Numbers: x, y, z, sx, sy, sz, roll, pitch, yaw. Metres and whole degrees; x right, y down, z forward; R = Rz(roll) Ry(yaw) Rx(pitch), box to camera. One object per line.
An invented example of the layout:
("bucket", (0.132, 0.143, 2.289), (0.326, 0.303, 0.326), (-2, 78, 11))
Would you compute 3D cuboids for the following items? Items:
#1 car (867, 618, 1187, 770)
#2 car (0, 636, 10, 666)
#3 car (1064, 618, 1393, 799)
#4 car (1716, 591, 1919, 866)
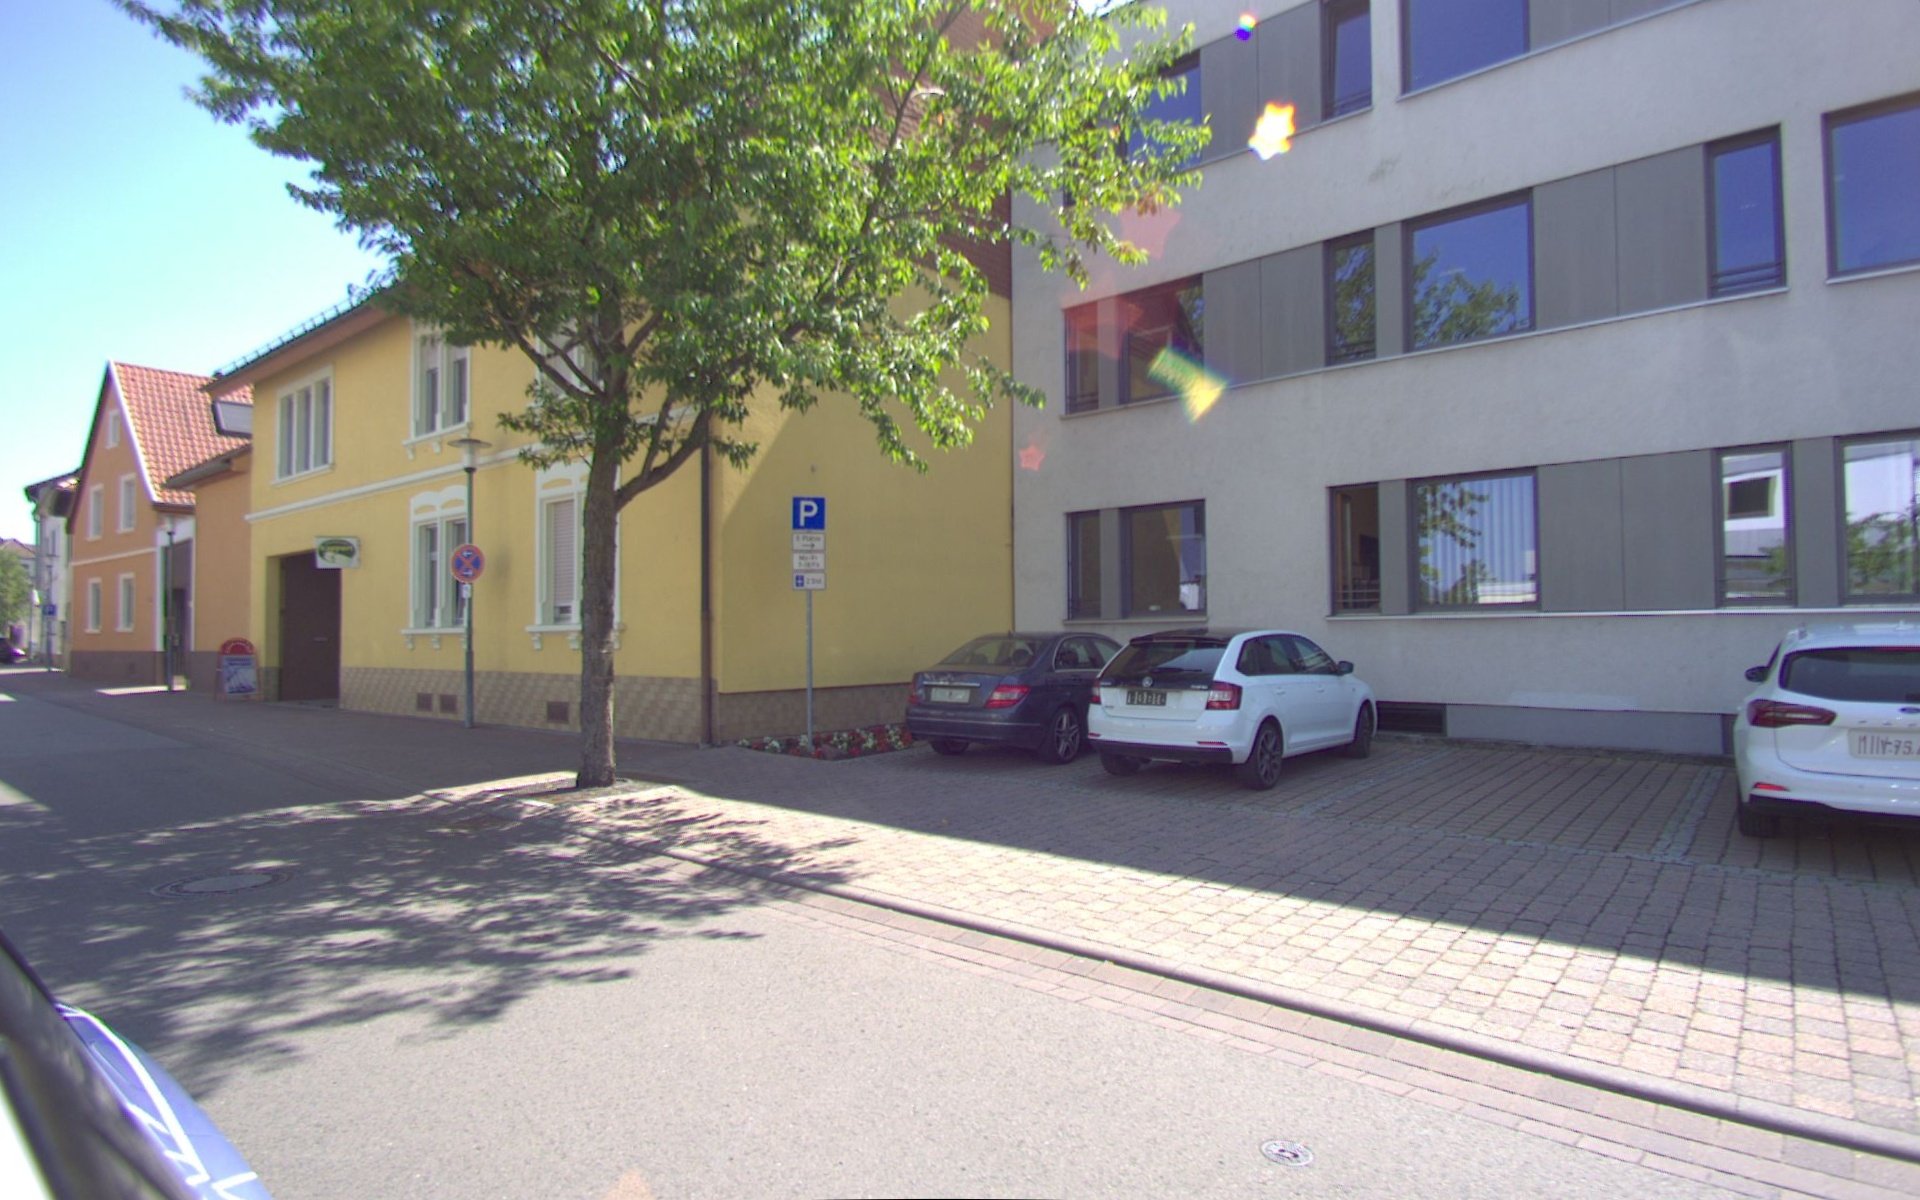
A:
("car", (0.956, 0.989, 12.087), (1.969, 1.442, 3.950), (-3, -2, 37))
("car", (-53.878, 2.834, 55.988), (1.837, 1.642, 4.051), (2, -3, -43))
("car", (2.931, 0.958, 10.468), (1.805, 1.462, 3.947), (-3, -2, 39))
("car", (6.980, 0.761, 7.437), (1.934, 1.566, 4.457), (-3, -3, 41))
